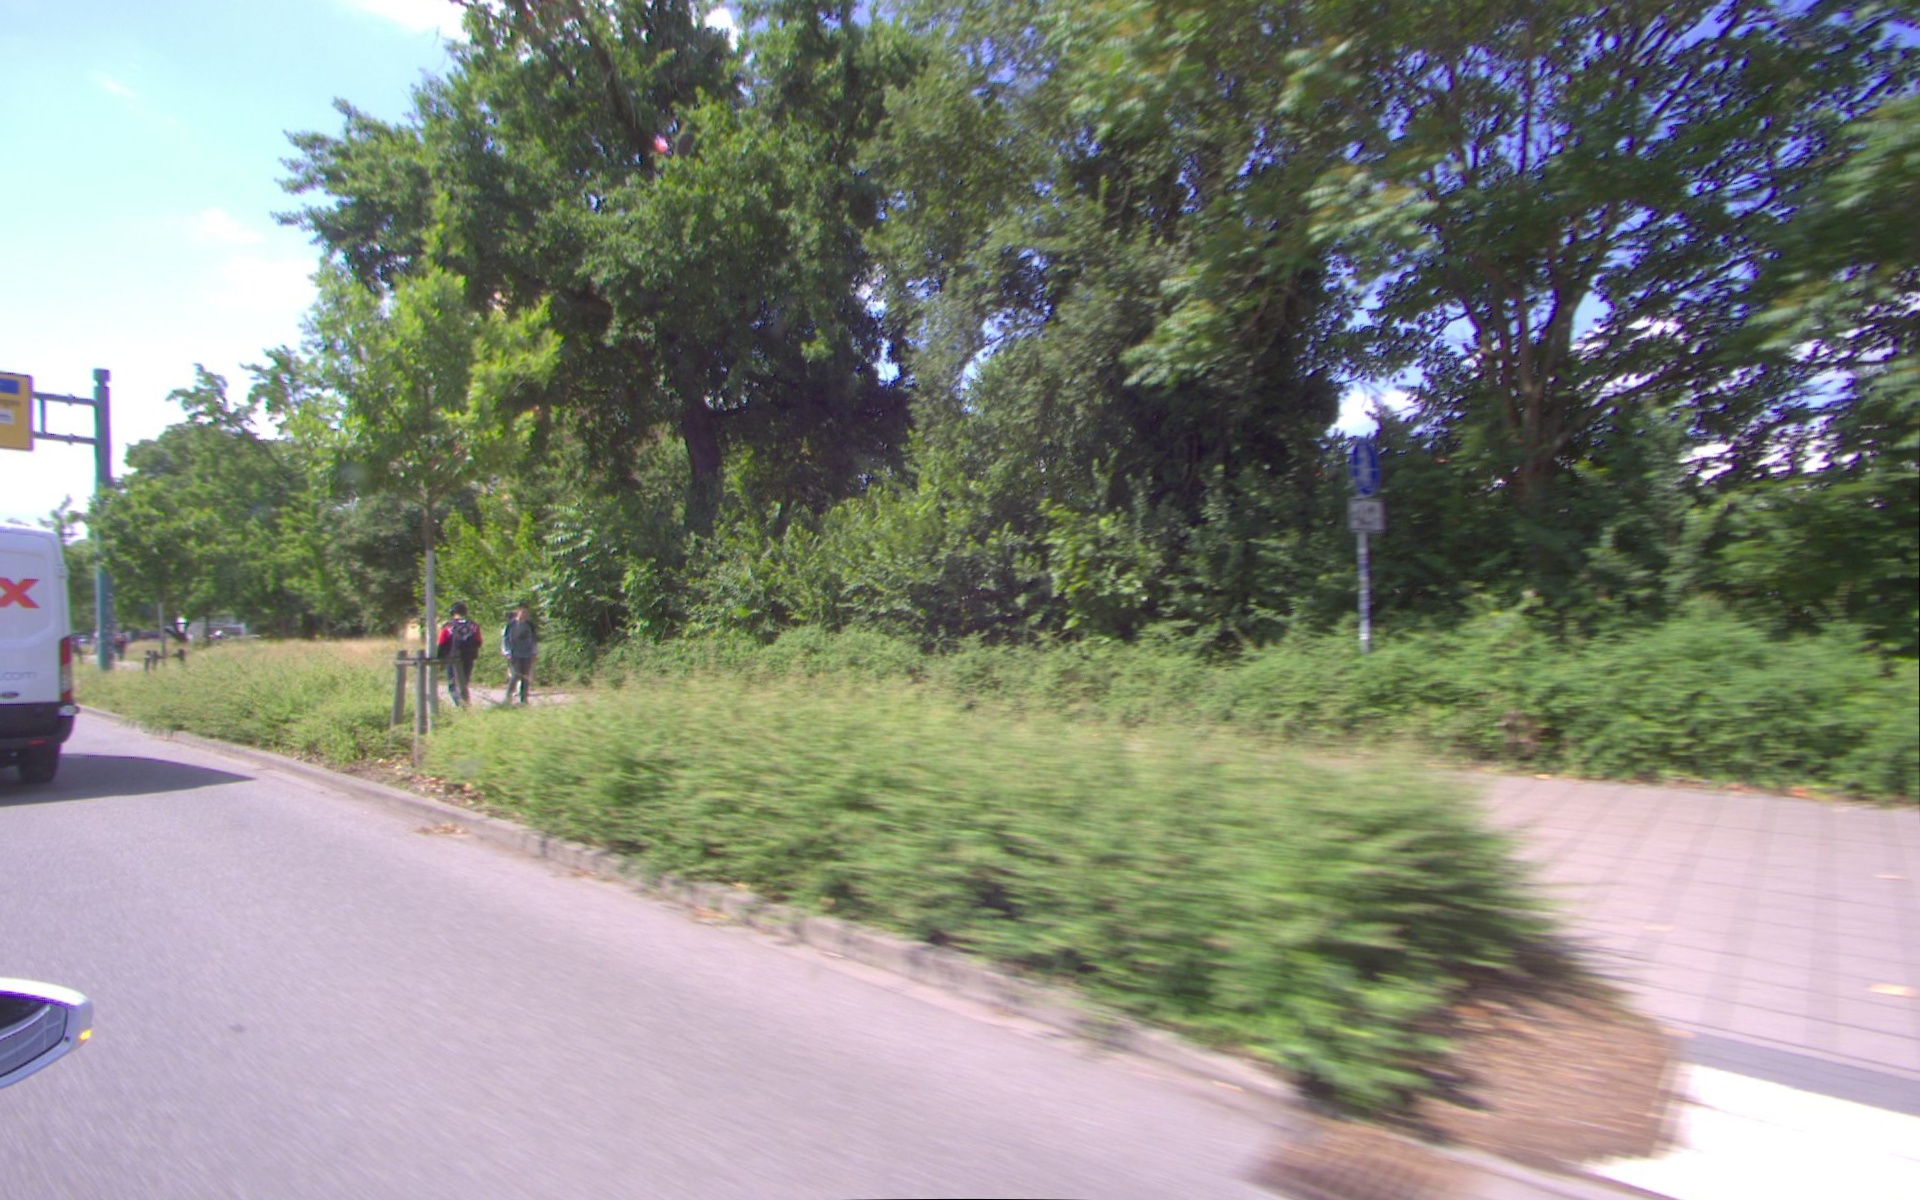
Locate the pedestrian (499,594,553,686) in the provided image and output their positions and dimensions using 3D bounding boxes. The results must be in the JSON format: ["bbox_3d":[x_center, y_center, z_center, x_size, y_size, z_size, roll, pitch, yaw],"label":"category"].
[{"bbox_3d":[-8.393,0.766,19.356,0.739,1.744,0.719,-1,-1,42],"label":"pedestrian"}]

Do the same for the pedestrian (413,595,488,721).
[{"bbox_3d":[-7.320,0.811,14.388,0.828,1.744,0.712,-1,-1,42],"label":"pedestrian"}]

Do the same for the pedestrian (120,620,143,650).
[{"bbox_3d":[-43.851,1.846,52.985,0.825,1.559,0.841,-1,-1,41],"label":"pedestrian"}]

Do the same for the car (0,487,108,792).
[{"bbox_3d":[-10.904,0.389,10.299,5.632,2.687,2.133,-1,-1,37],"label":"car"}]

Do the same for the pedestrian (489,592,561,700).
[{"bbox_3d":[-7.301,0.757,16.792,0.919,1.744,0.809,-1,-1,42],"label":"pedestrian"}]
